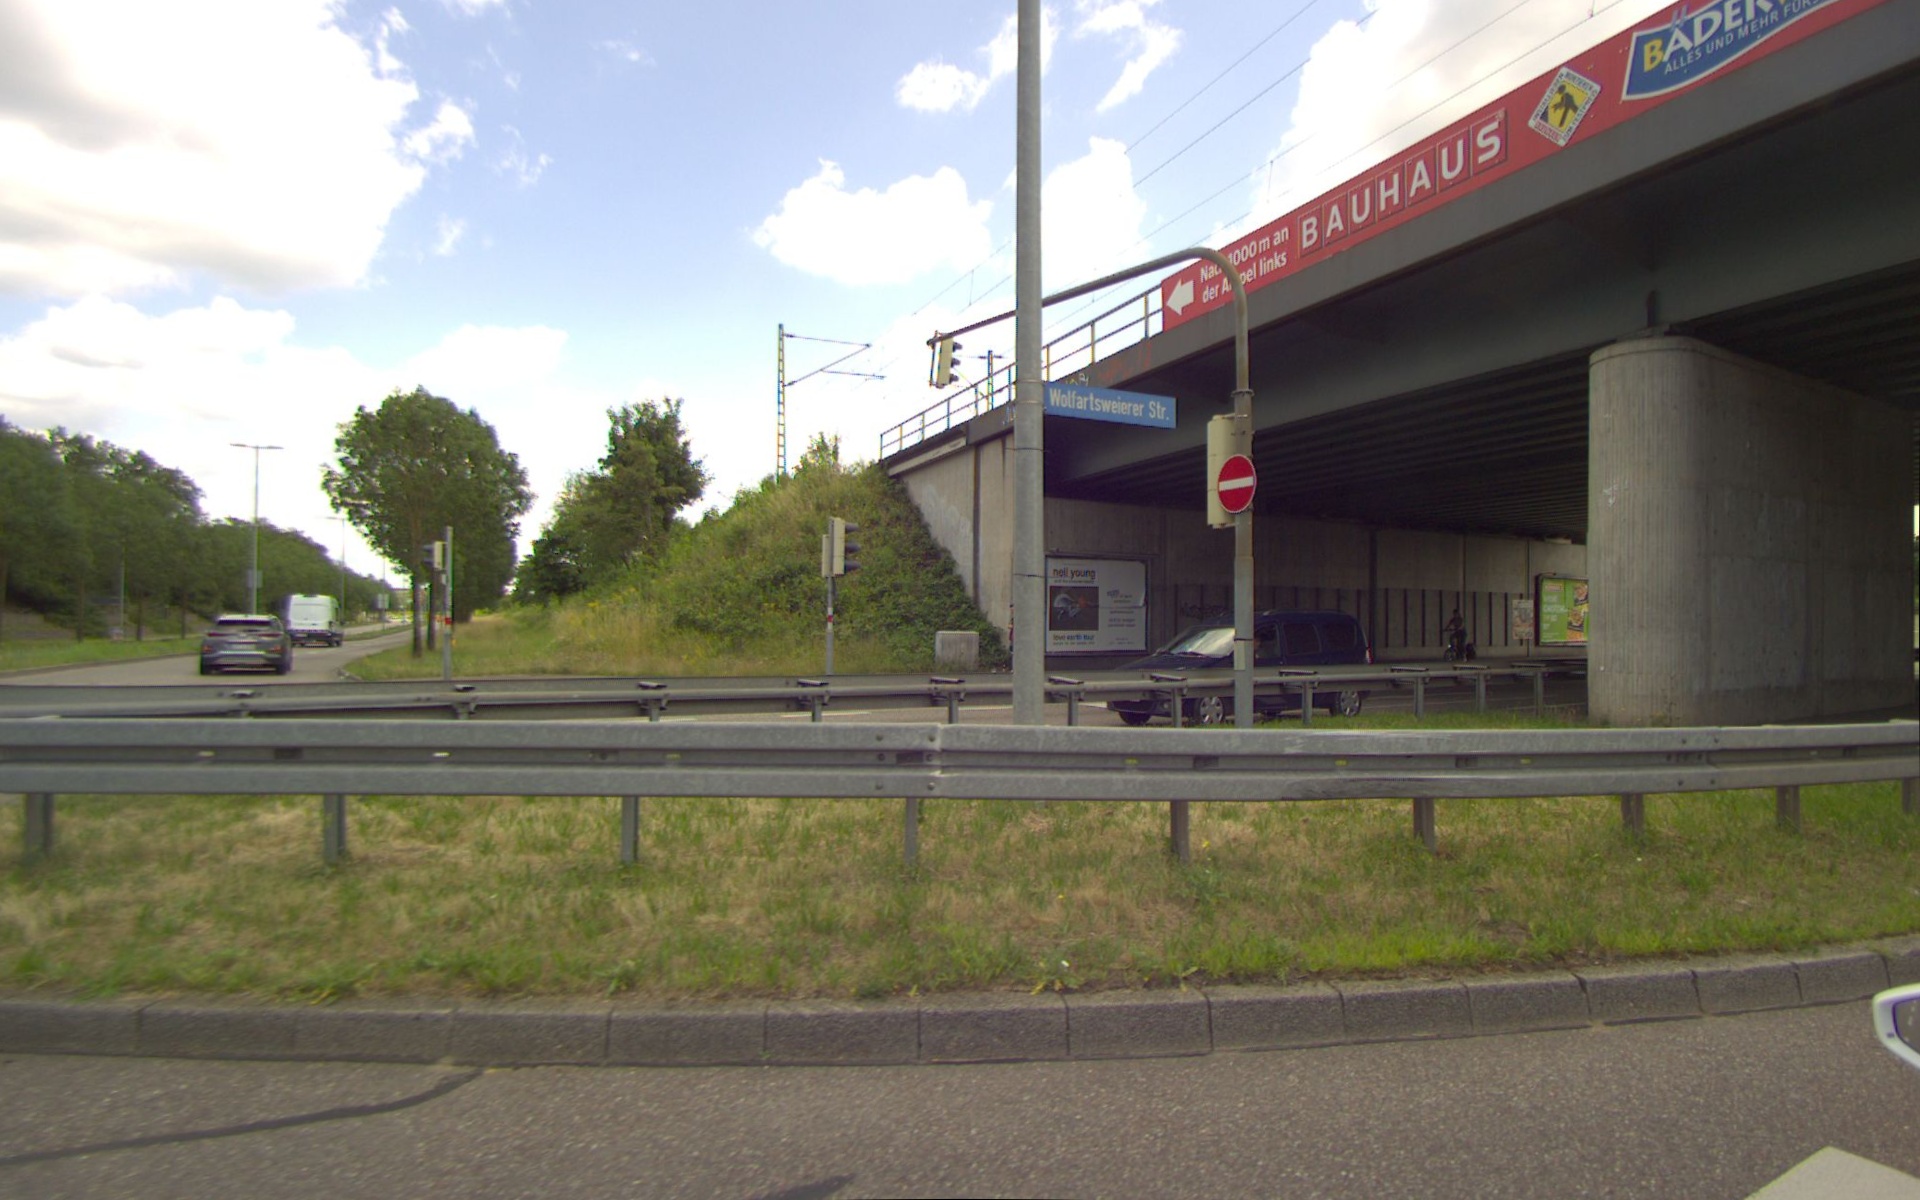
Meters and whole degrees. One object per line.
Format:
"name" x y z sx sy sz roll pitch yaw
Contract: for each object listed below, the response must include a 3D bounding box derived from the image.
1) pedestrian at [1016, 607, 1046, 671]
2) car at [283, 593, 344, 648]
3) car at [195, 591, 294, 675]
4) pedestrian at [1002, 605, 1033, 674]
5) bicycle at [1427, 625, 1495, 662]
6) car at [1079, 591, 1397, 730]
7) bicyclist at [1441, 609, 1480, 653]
"pedestrian" 1.861 1.015 26.308 0.579 1.646 0.552 1 -1 -29
"car" -35.249 1.111 54.907 2.358 2.859 5.375 1 -1 -29
"car" -19.108 0.853 26.772 1.982 2.040 3.957 1 -2 -38
"pedestrian" 1.444 0.995 25.466 0.550 1.703 0.587 1 -1 -32
"bicycle" 16.405 1.439 32.859 2.250 1.158 0.679 2 0 -23
"car" 4.223 0.835 15.004 4.664 1.782 1.983 1 -1 -32
"bicyclist" 16.365 1.008 32.836 0.911 1.427 0.680 1 0 -23
